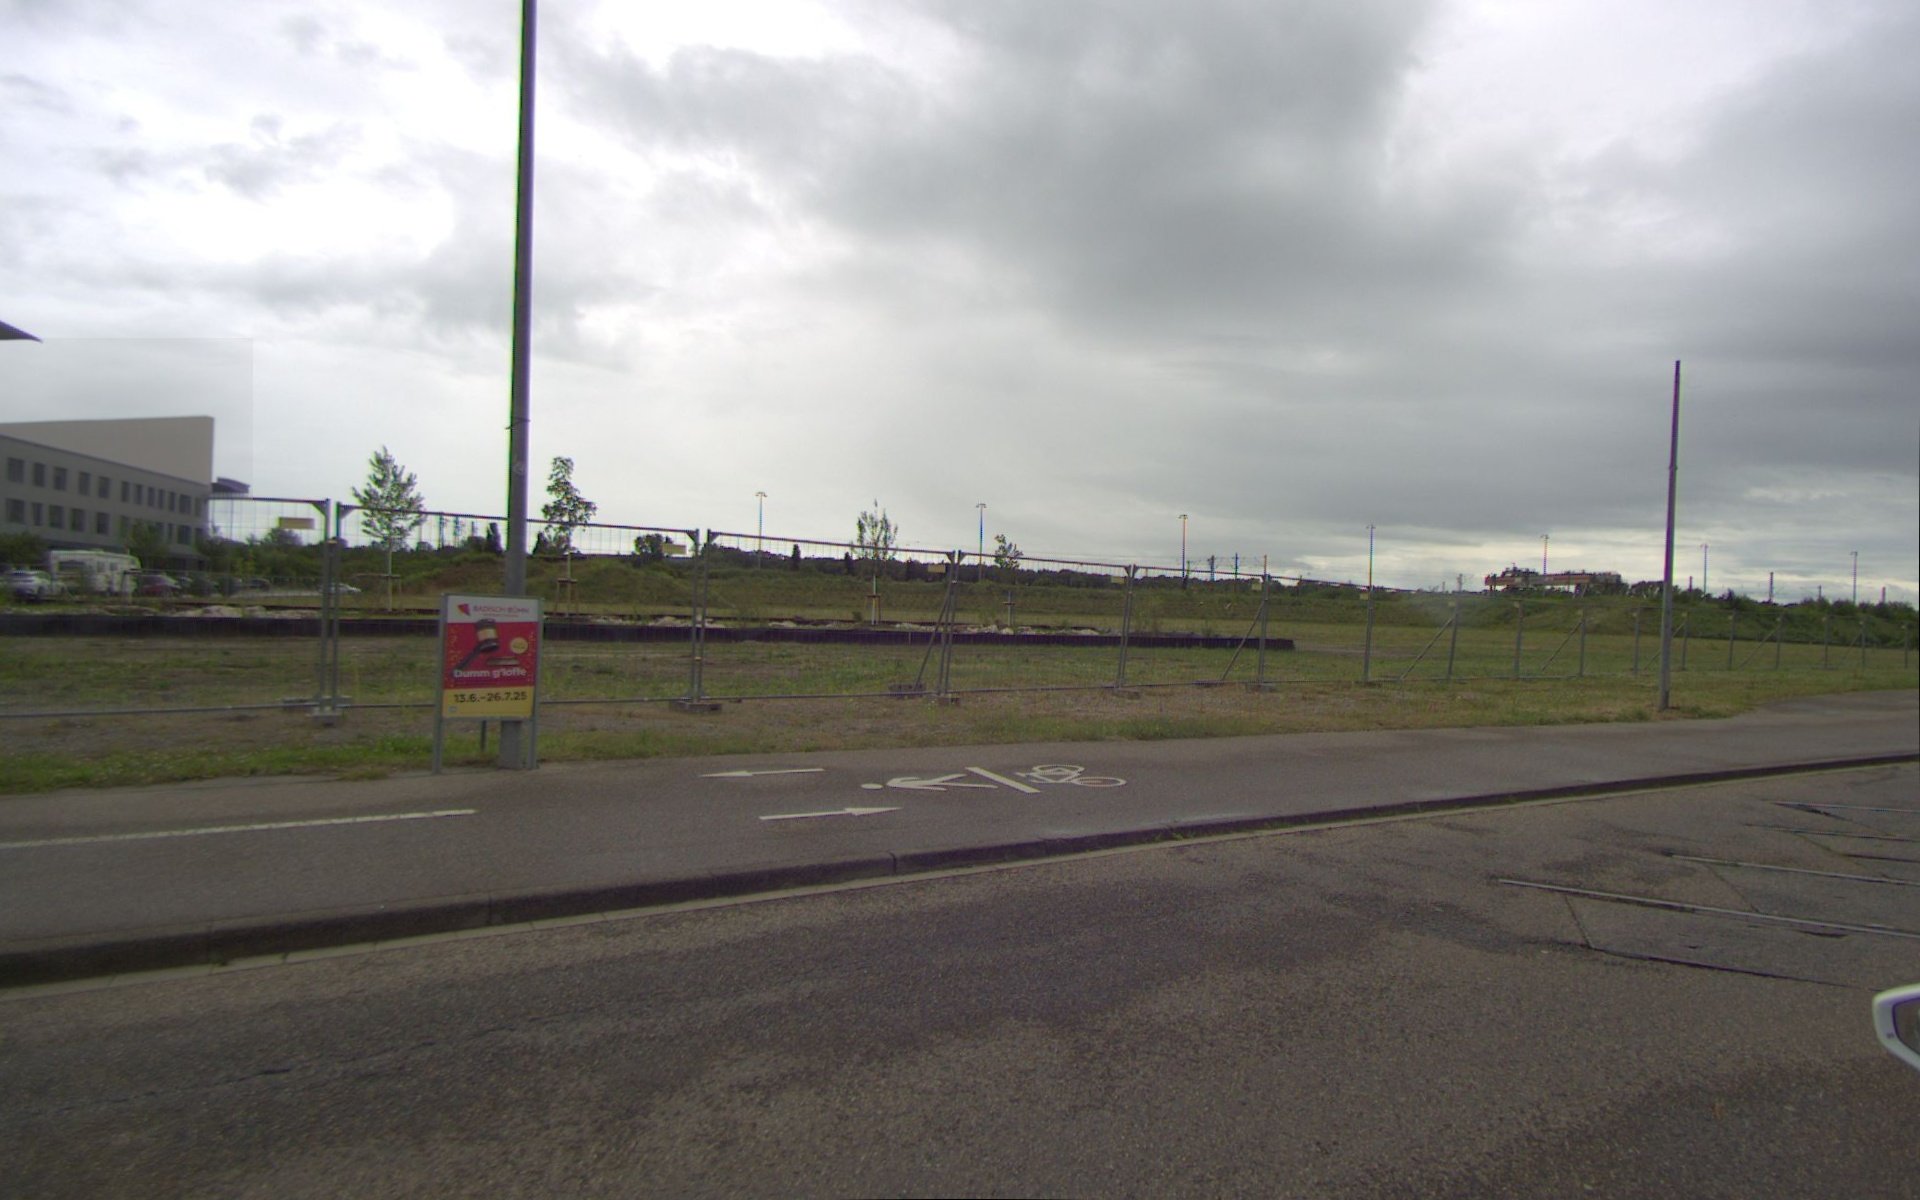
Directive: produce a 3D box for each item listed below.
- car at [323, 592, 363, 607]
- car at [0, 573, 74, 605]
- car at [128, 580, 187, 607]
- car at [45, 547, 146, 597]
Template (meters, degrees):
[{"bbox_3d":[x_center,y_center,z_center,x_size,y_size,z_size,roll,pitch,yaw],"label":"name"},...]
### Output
[{"bbox_3d":[-73.809,-0.066,120.233,3.950,1.639,1.985,1,0,-28],"label":"car"},{"bbox_3d":[-53.328,-0.632,57.893,1.969,1.770,3.982,1,0,-19],"label":"car"},{"bbox_3d":[-58.757,-0.450,73.607,1.970,1.862,4.505,2,0,-20],"label":"car"},{"bbox_3d":[-56.193,-1.759,65.497,2.672,2.996,6.548,1,0,-19],"label":"car"}]
